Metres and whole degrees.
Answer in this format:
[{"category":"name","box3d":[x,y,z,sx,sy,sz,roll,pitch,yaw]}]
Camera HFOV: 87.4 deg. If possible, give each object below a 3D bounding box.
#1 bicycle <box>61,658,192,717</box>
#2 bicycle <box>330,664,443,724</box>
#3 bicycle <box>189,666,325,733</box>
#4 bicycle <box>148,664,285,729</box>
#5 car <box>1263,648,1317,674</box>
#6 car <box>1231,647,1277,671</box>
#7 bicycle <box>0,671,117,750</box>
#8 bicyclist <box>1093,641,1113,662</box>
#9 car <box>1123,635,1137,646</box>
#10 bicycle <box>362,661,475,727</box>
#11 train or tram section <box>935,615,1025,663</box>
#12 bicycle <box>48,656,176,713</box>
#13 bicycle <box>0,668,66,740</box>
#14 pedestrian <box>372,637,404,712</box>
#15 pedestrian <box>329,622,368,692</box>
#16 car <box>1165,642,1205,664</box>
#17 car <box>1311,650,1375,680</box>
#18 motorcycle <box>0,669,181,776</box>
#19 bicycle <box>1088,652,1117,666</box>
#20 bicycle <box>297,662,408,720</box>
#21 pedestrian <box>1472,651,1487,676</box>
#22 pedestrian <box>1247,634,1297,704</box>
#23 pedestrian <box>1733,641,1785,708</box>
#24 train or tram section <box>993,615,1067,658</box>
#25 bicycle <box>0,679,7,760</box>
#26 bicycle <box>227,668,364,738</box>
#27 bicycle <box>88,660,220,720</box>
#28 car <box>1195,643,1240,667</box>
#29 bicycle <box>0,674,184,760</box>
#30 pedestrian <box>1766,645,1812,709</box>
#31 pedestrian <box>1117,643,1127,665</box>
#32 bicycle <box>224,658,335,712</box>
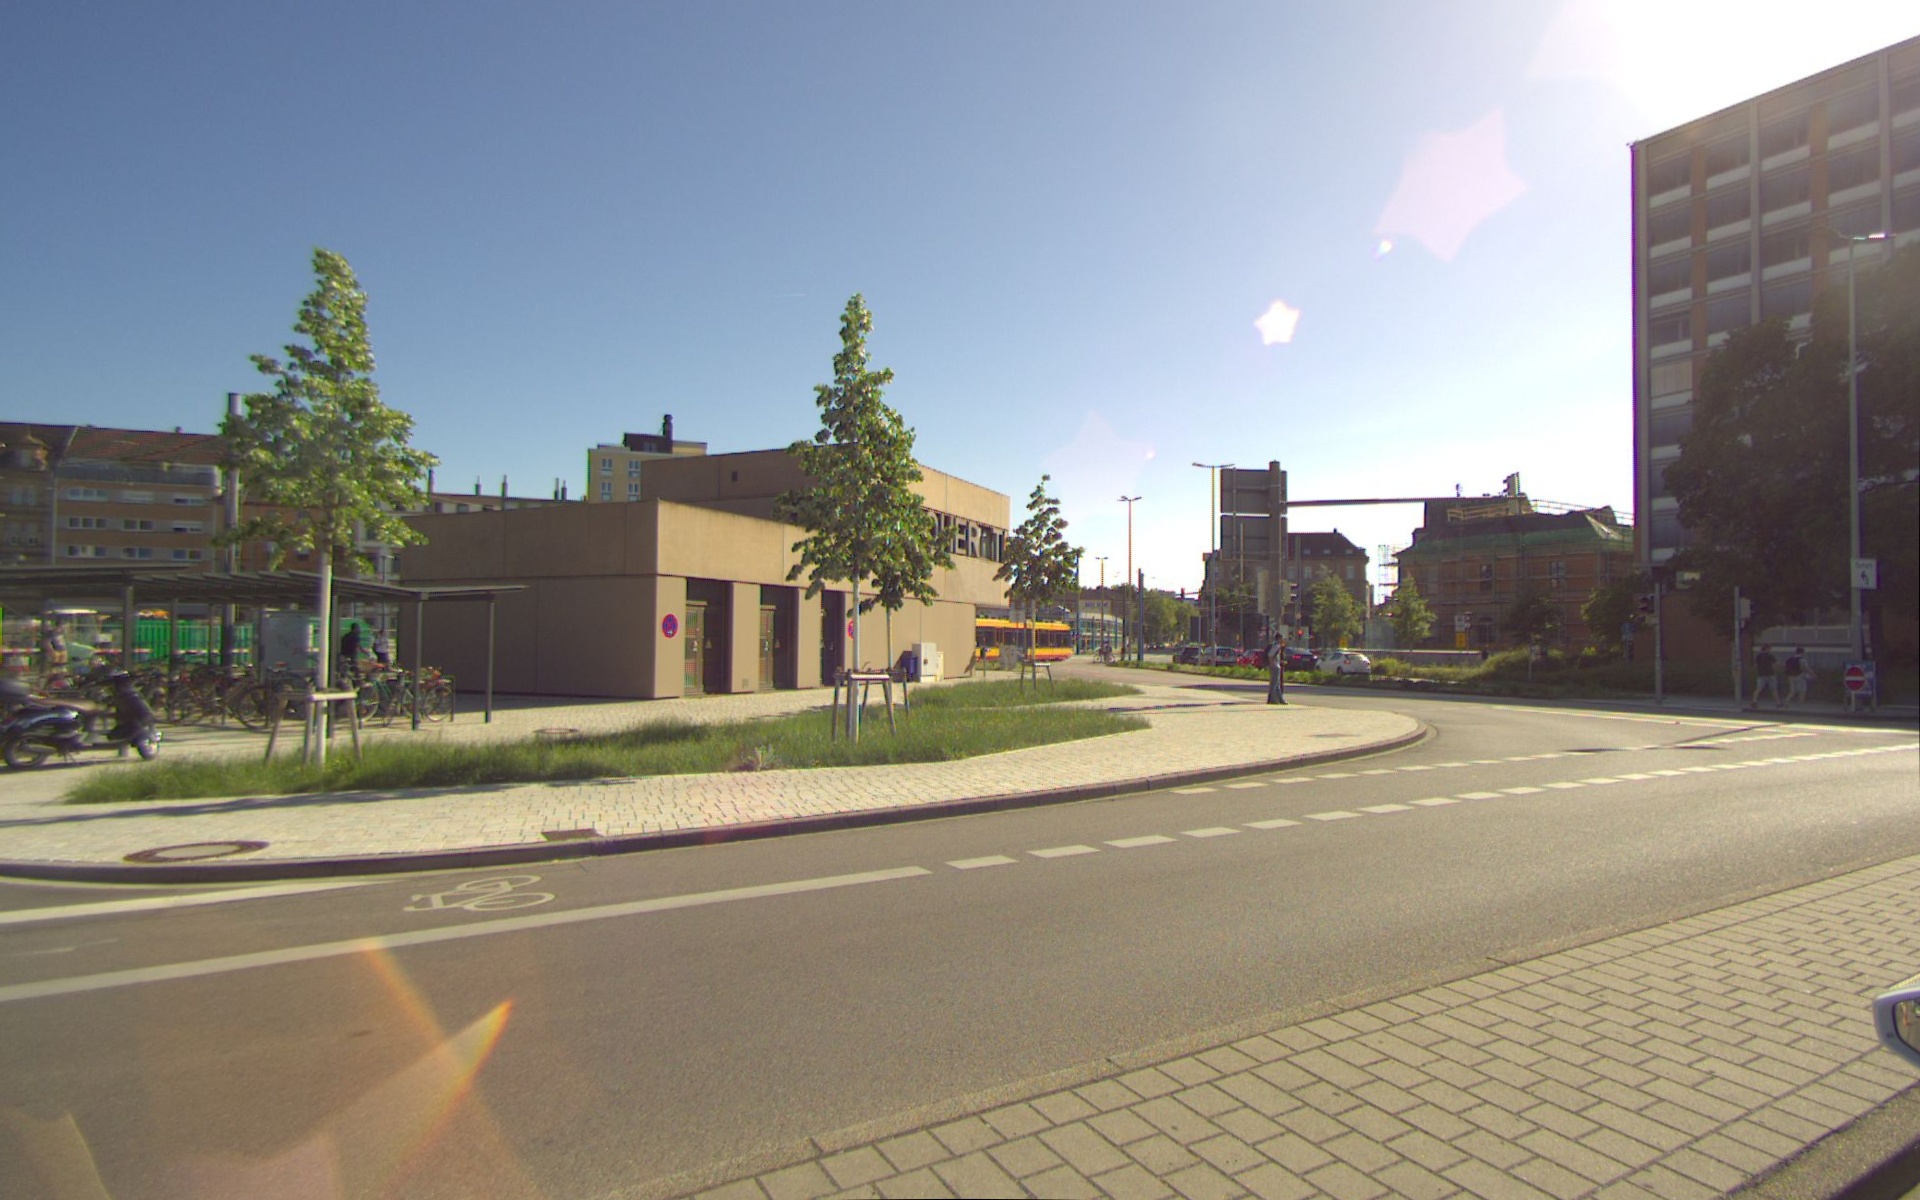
[{"category":"bicycle","box3d":[-15.913,1.646,19.236,0.449,1.022,1.902,0,-2,26]},{"category":"bicycle","box3d":[-10.703,1.736,18.815,0.449,1.022,1.902,0,-2,26]},{"category":"bicycle","box3d":[-11.885,1.654,17.055,0.449,1.022,1.902,0,-2,26]},{"category":"bicycle","box3d":[-12.894,1.651,17.486,0.449,1.022,1.902,0,-2,26]},{"category":"car","box3d":[20.585,3.768,62.785,1.760,1.528,3.880,1,-2,-6]},{"category":"car","box3d":[20.215,4.033,69.246,1.760,1.528,3.880,1,-2,-6]},{"category":"bicycle","box3d":[-13.025,1.539,14.011,0.449,1.022,1.902,0,-2,26]},{"category":"bicyclist","box3d":[12.071,4.321,84.892,1.544,1.655,0.811,2,0,12]},{"category":"car","box3d":[34.452,8.154,203.167,1.961,2.040,3.998,2,0,23]},{"category":"bicycle","box3d":[-9.923,1.699,18.486,0.449,1.112,1.902,0,-2,26]},{"category":"train or tram section","box3d":[1.673,2.792,75.216,2.650,3.275,10.593,2,0,25]},{"category":"bicycle","box3d":[-16.696,1.641,19.835,0.449,1.022,1.902,0,-2,26]},{"category":"bicycle","box3d":[-14.154,1.511,14.442,0.449,1.022,1.902,0,-2,26]},{"category":"pedestrian","box3d":[-15.837,2.051,27.828,0.710,2.040,0.682,2,-3,-30]},{"category":"pedestrian","box3d":[-16.657,1.547,27.381,0.555,1.858,0.683,0,-2,27]},{"category":"car","box3d":[16.786,3.930,74.993,1.760,1.528,3.880,1,-2,-6]},{"category":"car","box3d":[21.258,3.594,55.929,1.760,1.528,3.880,1,-2,-6]},{"category":"motorcycle","box3d":[-10.916,1.478,12.466,0.508,1.166,1.947,0,-2,25]},{"category":"bicycle","box3d":[12.023,4.955,84.893,2.370,1.076,0.811,2,0,13]},{"category":"bicycle","box3d":[-11.792,1.746,19.573,0.449,1.022,1.902,0,-2,26]},{"category":"pedestrian","box3d":[37.233,4.527,71.993,0.754,1.753,0.675,2,-2,-39]},{"category":"pedestrian","box3d":[7.914,1.745,25.497,1.044,1.753,0.652,1,-2,-16]},{"category":"pedestrian","box3d":[23.067,2.145,29.001,0.895,1.887,0.813,1,-2,-16]},{"category":"train or tram section","box3d":[6.076,2.979,84.904,2.650,3.275,10.593,2,0,25]},{"category":"bicycle","box3d":[-12.741,1.487,11.999,0.449,1.022,1.902,0,-2,26]},{"category":"bicycle","box3d":[-10.906,1.665,16.566,0.449,1.022,1.902,0,-2,26]},{"category":"bicycle","box3d":[-15.077,1.658,18.861,0.449,1.022,1.902,0,-2,26]},{"category":"car","box3d":[17.467,3.694,68.266,1.760,1.528,3.880,1,-2,-6]},{"category":"bicycle","box3d":[-11.810,1.558,13.719,0.449,1.022,1.902,0,-2,26]},{"category":"pedestrian","box3d":[23.138,2.140,28.040,0.748,1.753,0.680,1,-2,-16]},{"category":"pedestrian","box3d":[13.336,4.392,82.445,0.761,1.786,0.706,0,-2,6]},{"category":"bicycle","box3d":[-14.068,1.731,20.825,0.449,1.022,1.902,0,-2,26]}]
